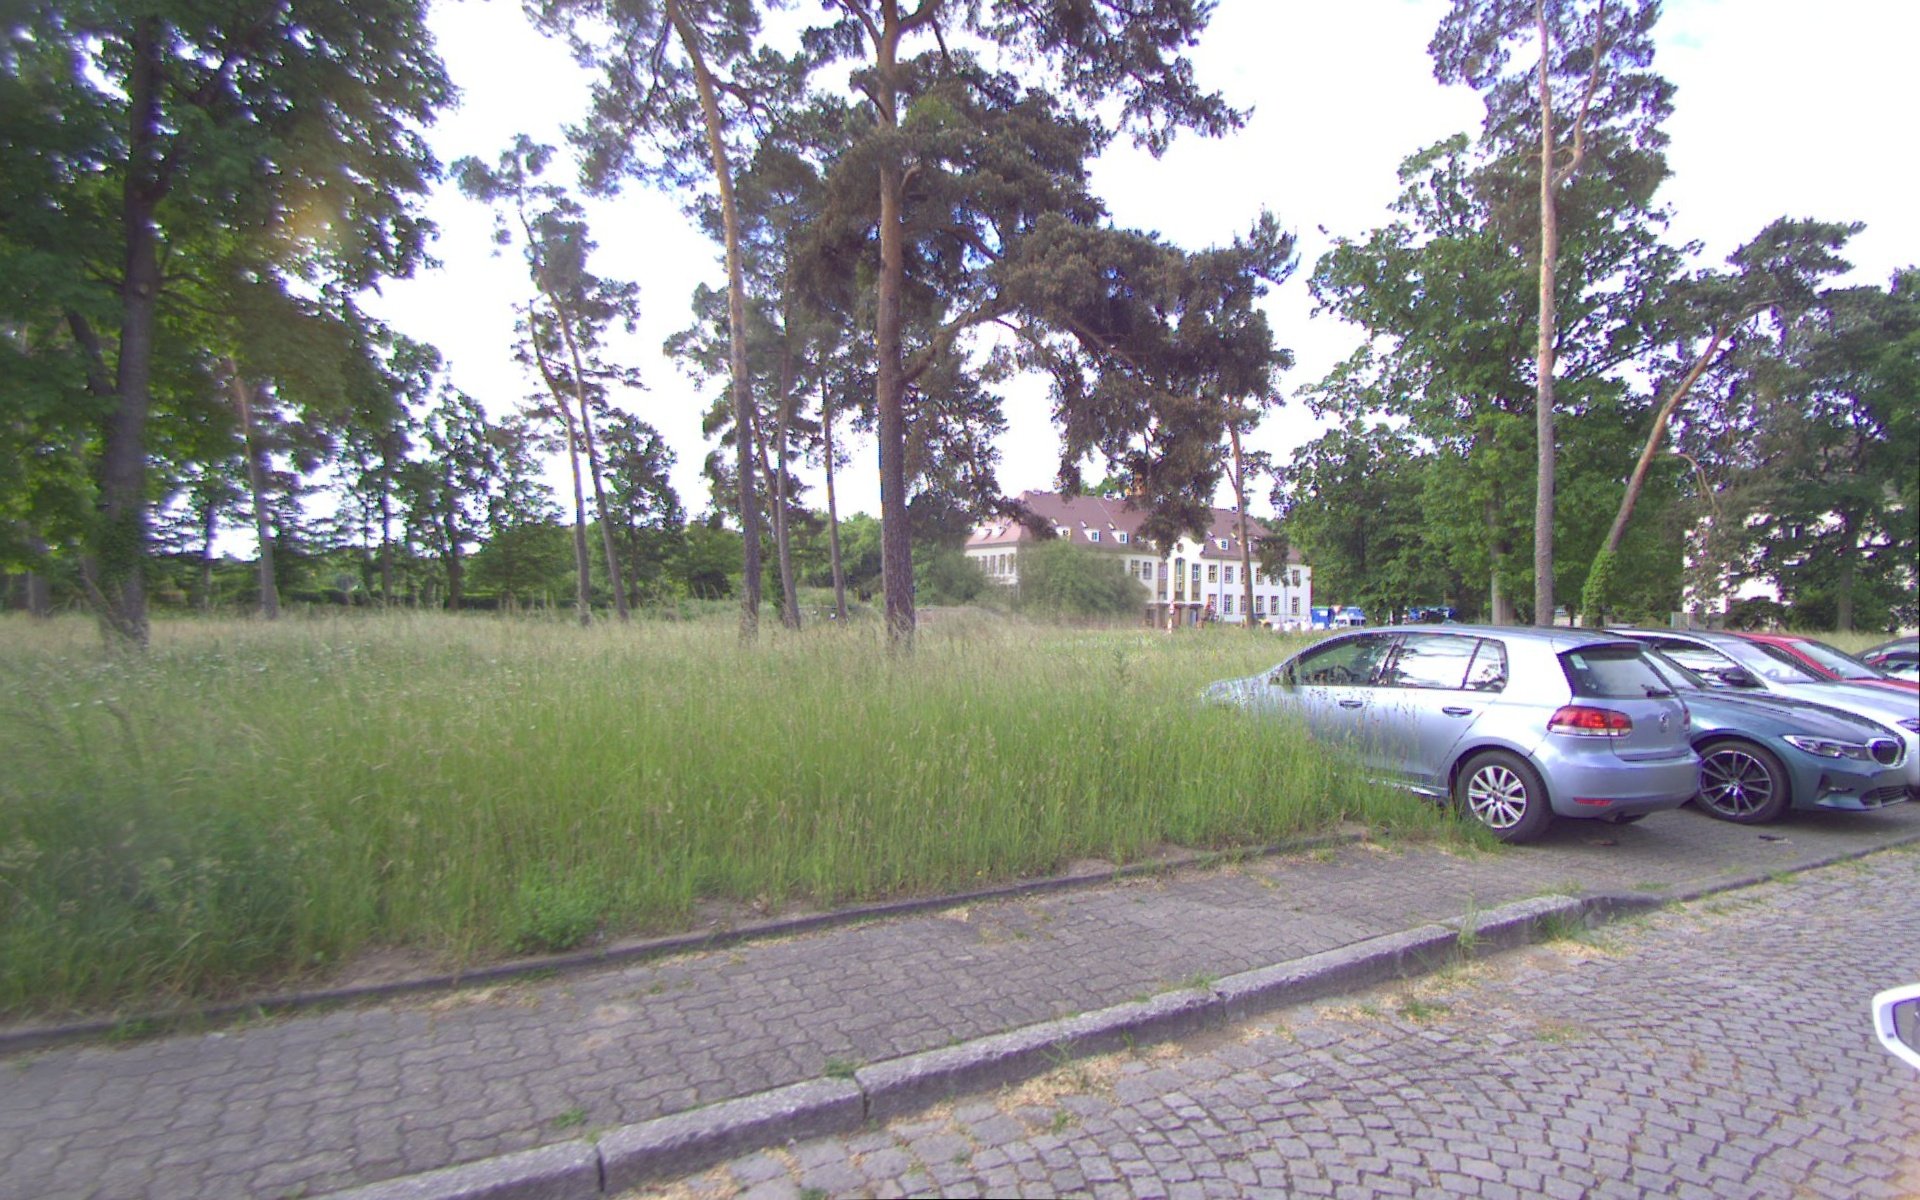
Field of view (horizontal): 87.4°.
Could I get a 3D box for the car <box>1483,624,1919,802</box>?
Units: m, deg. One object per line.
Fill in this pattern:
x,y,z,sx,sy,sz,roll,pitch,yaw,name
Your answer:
8.408,1.068,11.002,1.926,1.474,4.417,2,-1,-29,car

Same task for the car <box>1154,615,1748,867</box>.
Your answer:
3.757,0.931,8.564,1.805,1.490,4.311,2,-1,-28,car

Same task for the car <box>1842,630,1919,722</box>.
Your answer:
17.181,1.288,16.072,1.709,1.500,4.286,1,0,-28,car

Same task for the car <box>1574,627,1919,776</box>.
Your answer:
10.247,1.136,12.384,1.833,1.474,4.234,1,0,-30,car

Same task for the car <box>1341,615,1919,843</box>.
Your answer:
6.152,0.979,9.603,1.851,1.557,4.475,2,-1,-33,car

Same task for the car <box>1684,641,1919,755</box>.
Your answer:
12.389,1.284,13.377,1.743,1.300,4.112,1,0,-30,car

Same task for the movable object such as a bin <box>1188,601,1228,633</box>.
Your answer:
30.199,2.094,122.395,2.105,3.689,6.121,2,-2,-13,movable object such as a bin

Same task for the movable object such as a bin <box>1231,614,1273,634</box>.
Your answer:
34.312,2.818,118.070,2.348,2.283,4.494,3,-2,-25,movable object such as a bin

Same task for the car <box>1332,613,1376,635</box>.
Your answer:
40.743,2.514,103.978,4.296,2.122,2.052,3,-3,-31,car

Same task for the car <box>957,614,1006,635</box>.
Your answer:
2.362,2.683,112.166,2.350,2.143,5.760,3,-2,-38,car

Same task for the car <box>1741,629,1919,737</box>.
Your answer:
14.489,1.241,15.046,1.734,1.500,4.070,1,0,-29,car

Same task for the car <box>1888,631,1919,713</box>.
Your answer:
19.439,1.373,17.830,1.820,1.522,3.988,1,0,-28,car
